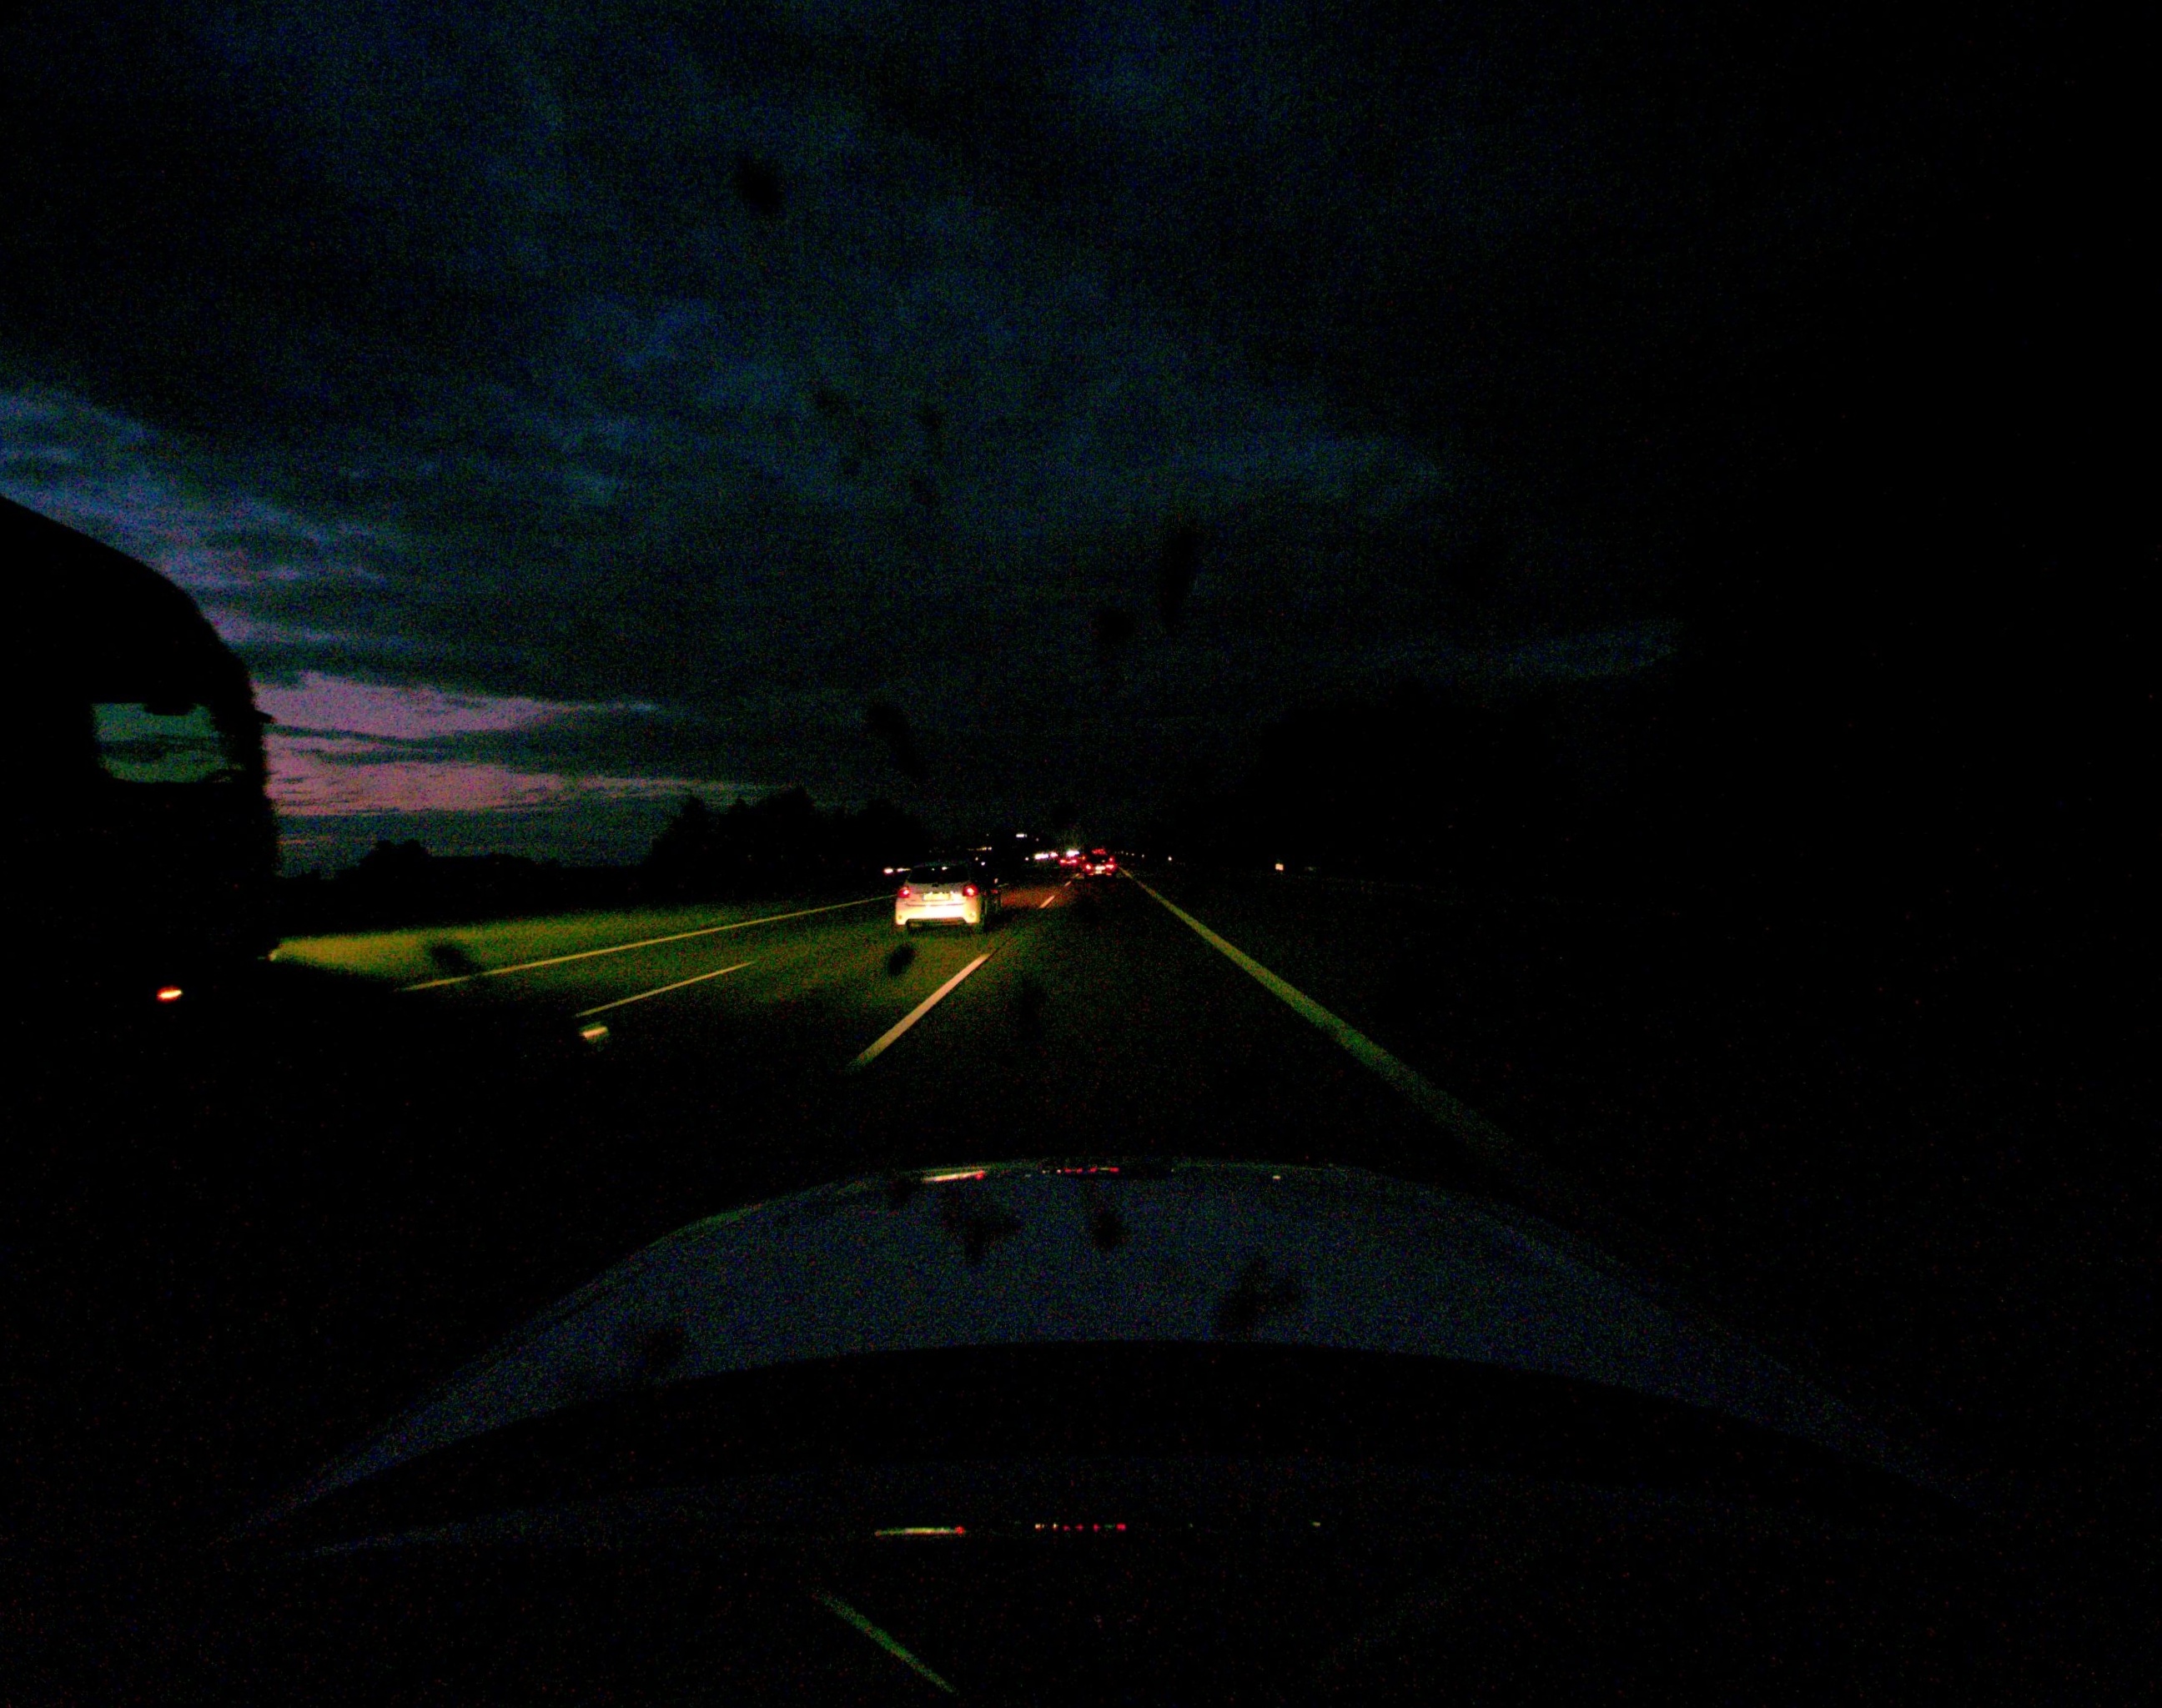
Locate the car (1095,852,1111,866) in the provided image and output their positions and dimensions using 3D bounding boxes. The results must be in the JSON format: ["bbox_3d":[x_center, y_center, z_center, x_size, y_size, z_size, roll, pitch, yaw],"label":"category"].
[{"bbox_3d":[2.642,0.620,99.751,1.874,1.552,4.000,-1,0,0],"label":"car"}]

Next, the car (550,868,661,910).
[{"bbox_3d":[-18.687,1.318,32.242,1.987,1.488,4.000,-1,0,1],"label":"car"}]

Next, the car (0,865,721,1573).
[{"bbox_3d":[-3.112,0.800,2.479,1.716,1.471,4.729,-1,0,3],"label":"car"}]

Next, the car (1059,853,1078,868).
[{"bbox_3d":[-1.300,0.703,86.107,1.874,1.552,4.000,-1,0,0],"label":"car"}]

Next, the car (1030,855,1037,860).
[{"bbox_3d":[-13.772,1.114,236.384,1.738,1.362,4.112,-1,0,1],"label":"car"}]

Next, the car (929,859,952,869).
[{"bbox_3d":[-16.520,1.169,95.642,1.924,1.178,4.001,-1,0,1],"label":"car"}]

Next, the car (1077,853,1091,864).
[{"bbox_3d":[0.507,0.738,139.506,2.191,1.879,4.001,-1,0,1],"label":"car"}]

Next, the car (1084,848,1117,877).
[{"bbox_3d":[1.141,0.475,48.737,1.873,1.643,4.001,-1,0,1],"label":"car"}]

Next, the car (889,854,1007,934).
[{"bbox_3d":[-2.780,0.787,18.027,1.738,1.525,4.416,-1,0,2],"label":"car"}]

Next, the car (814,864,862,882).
[{"bbox_3d":[-14.298,1.079,48.061,1.686,0.989,3.566,-1,0,1],"label":"car"}]

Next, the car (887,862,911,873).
[{"bbox_3d":[-20.420,1.508,91.410,1.712,1.178,4.001,-1,0,1],"label":"car"}]

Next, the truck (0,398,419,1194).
[{"bbox_3d":[-6.945,-0.278,3.629,2.767,4.092,6.105,-2,-1,2],"label":"truck"}]
